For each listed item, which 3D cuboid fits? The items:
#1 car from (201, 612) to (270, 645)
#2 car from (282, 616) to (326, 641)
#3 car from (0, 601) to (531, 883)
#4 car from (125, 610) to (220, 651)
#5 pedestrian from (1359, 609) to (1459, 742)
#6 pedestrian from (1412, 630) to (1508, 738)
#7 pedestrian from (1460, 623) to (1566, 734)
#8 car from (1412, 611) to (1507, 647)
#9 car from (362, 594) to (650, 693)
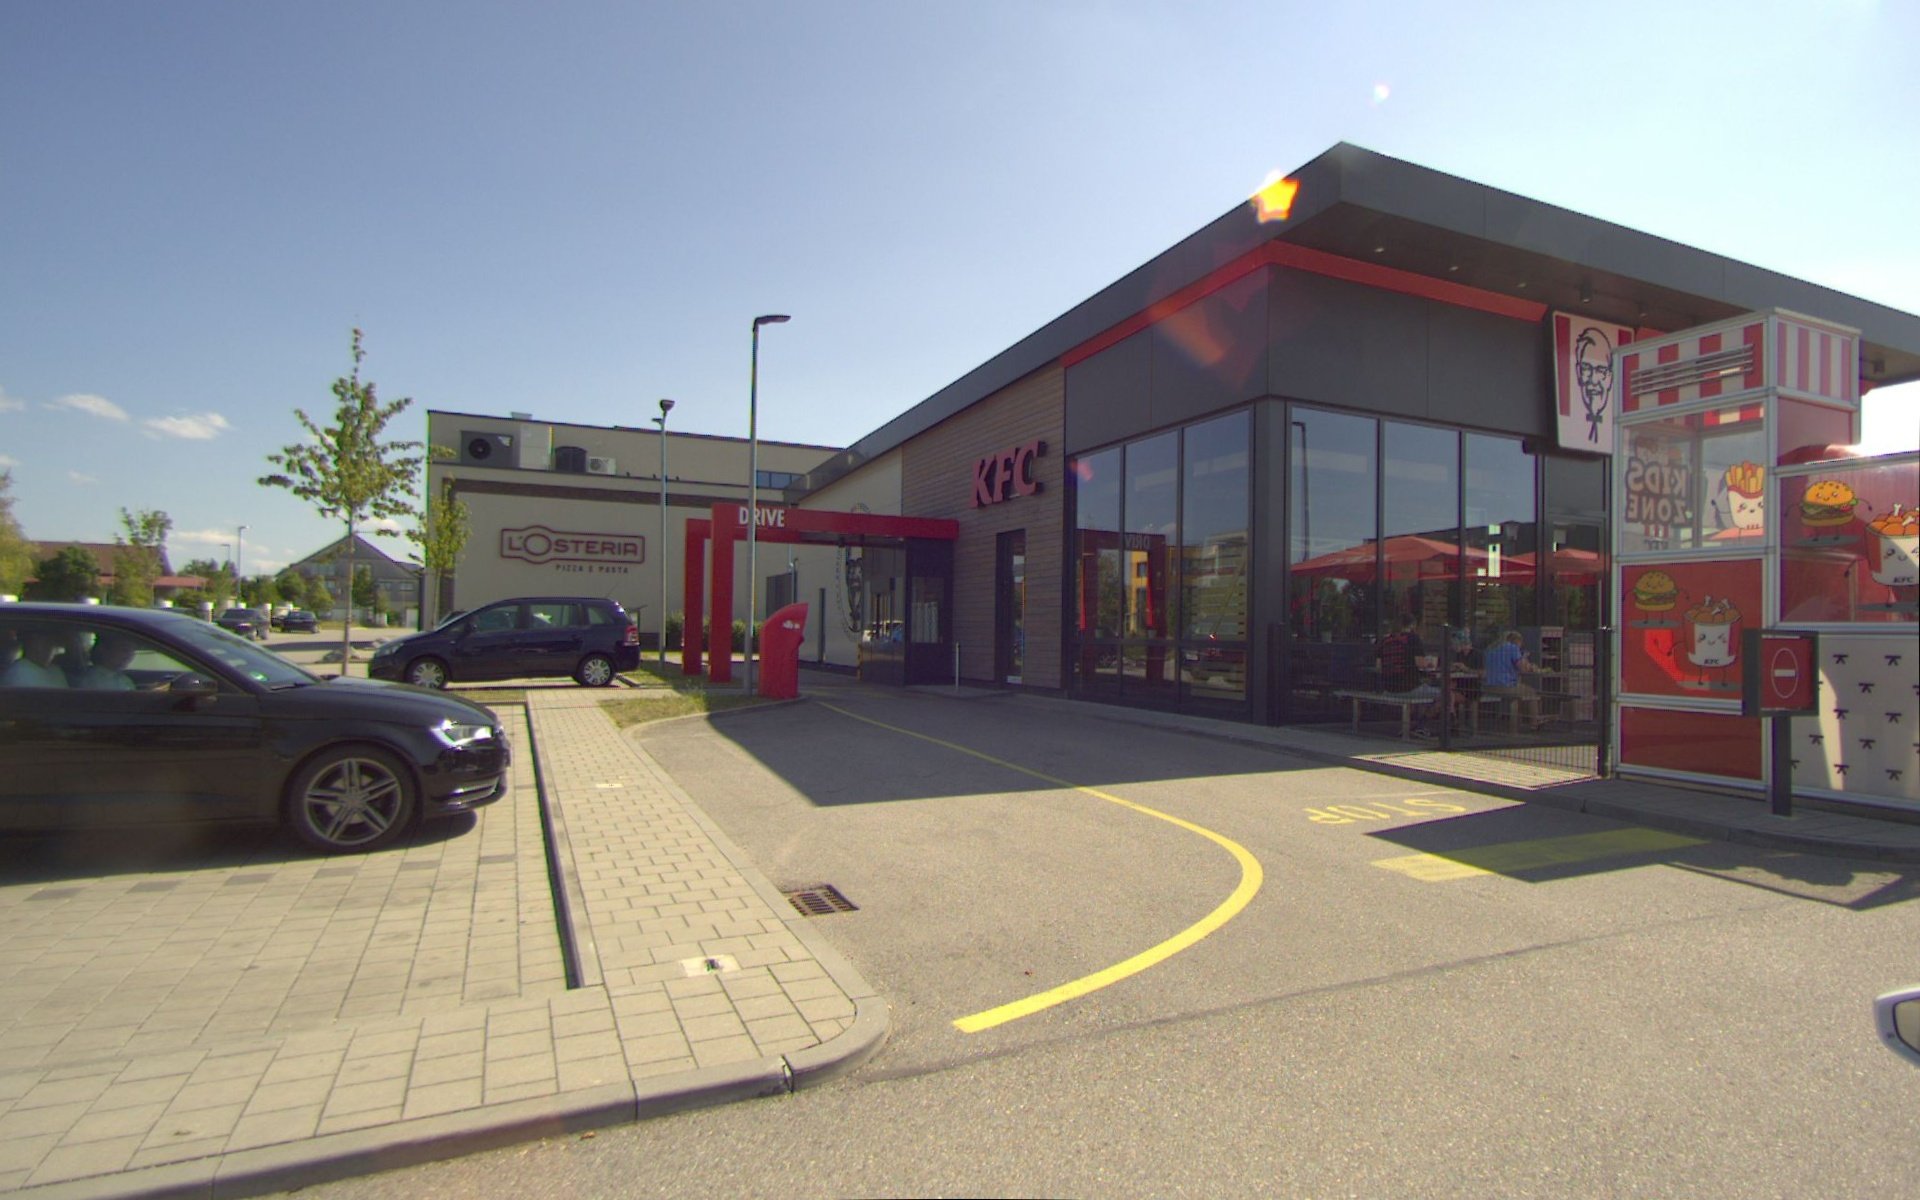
[{"bbox_3d":[-36.520,1.414,50.720,2.042,1.528,3.975,3,-2,-25],"label":"car"},{"bbox_3d":[-43.300,1.875,66.378,1.788,1.528,3.975,2,-1,-25],"label":"car"},{"bbox_3d":[-4.937,0.739,6.042,4.258,1.429,1.718,2,-1,-26],"label":"car"},{"bbox_3d":[-31.468,1.198,40.274,2.042,1.528,3.975,3,-2,-25],"label":"car"},{"bbox_3d":[5.175,0.849,11.595,0.684,1.462,0.793,1,-1,-26],"label":"pedestrian"},{"bbox_3d":[5.952,0.985,11.982,0.685,1.216,0.750,1,-1,-24],"label":"pedestrian"},{"bbox_3d":[6.961,0.971,12.656,0.932,1.330,0.751,1,-1,-24],"label":"pedestrian"},{"bbox_3d":[26.497,1.553,53.342,4.258,1.725,1.891,2,-1,-13],"label":"car"},{"bbox_3d":[-8.064,0.755,18.086,4.492,1.590,1.986,1,-1,-27],"label":"car"}]
